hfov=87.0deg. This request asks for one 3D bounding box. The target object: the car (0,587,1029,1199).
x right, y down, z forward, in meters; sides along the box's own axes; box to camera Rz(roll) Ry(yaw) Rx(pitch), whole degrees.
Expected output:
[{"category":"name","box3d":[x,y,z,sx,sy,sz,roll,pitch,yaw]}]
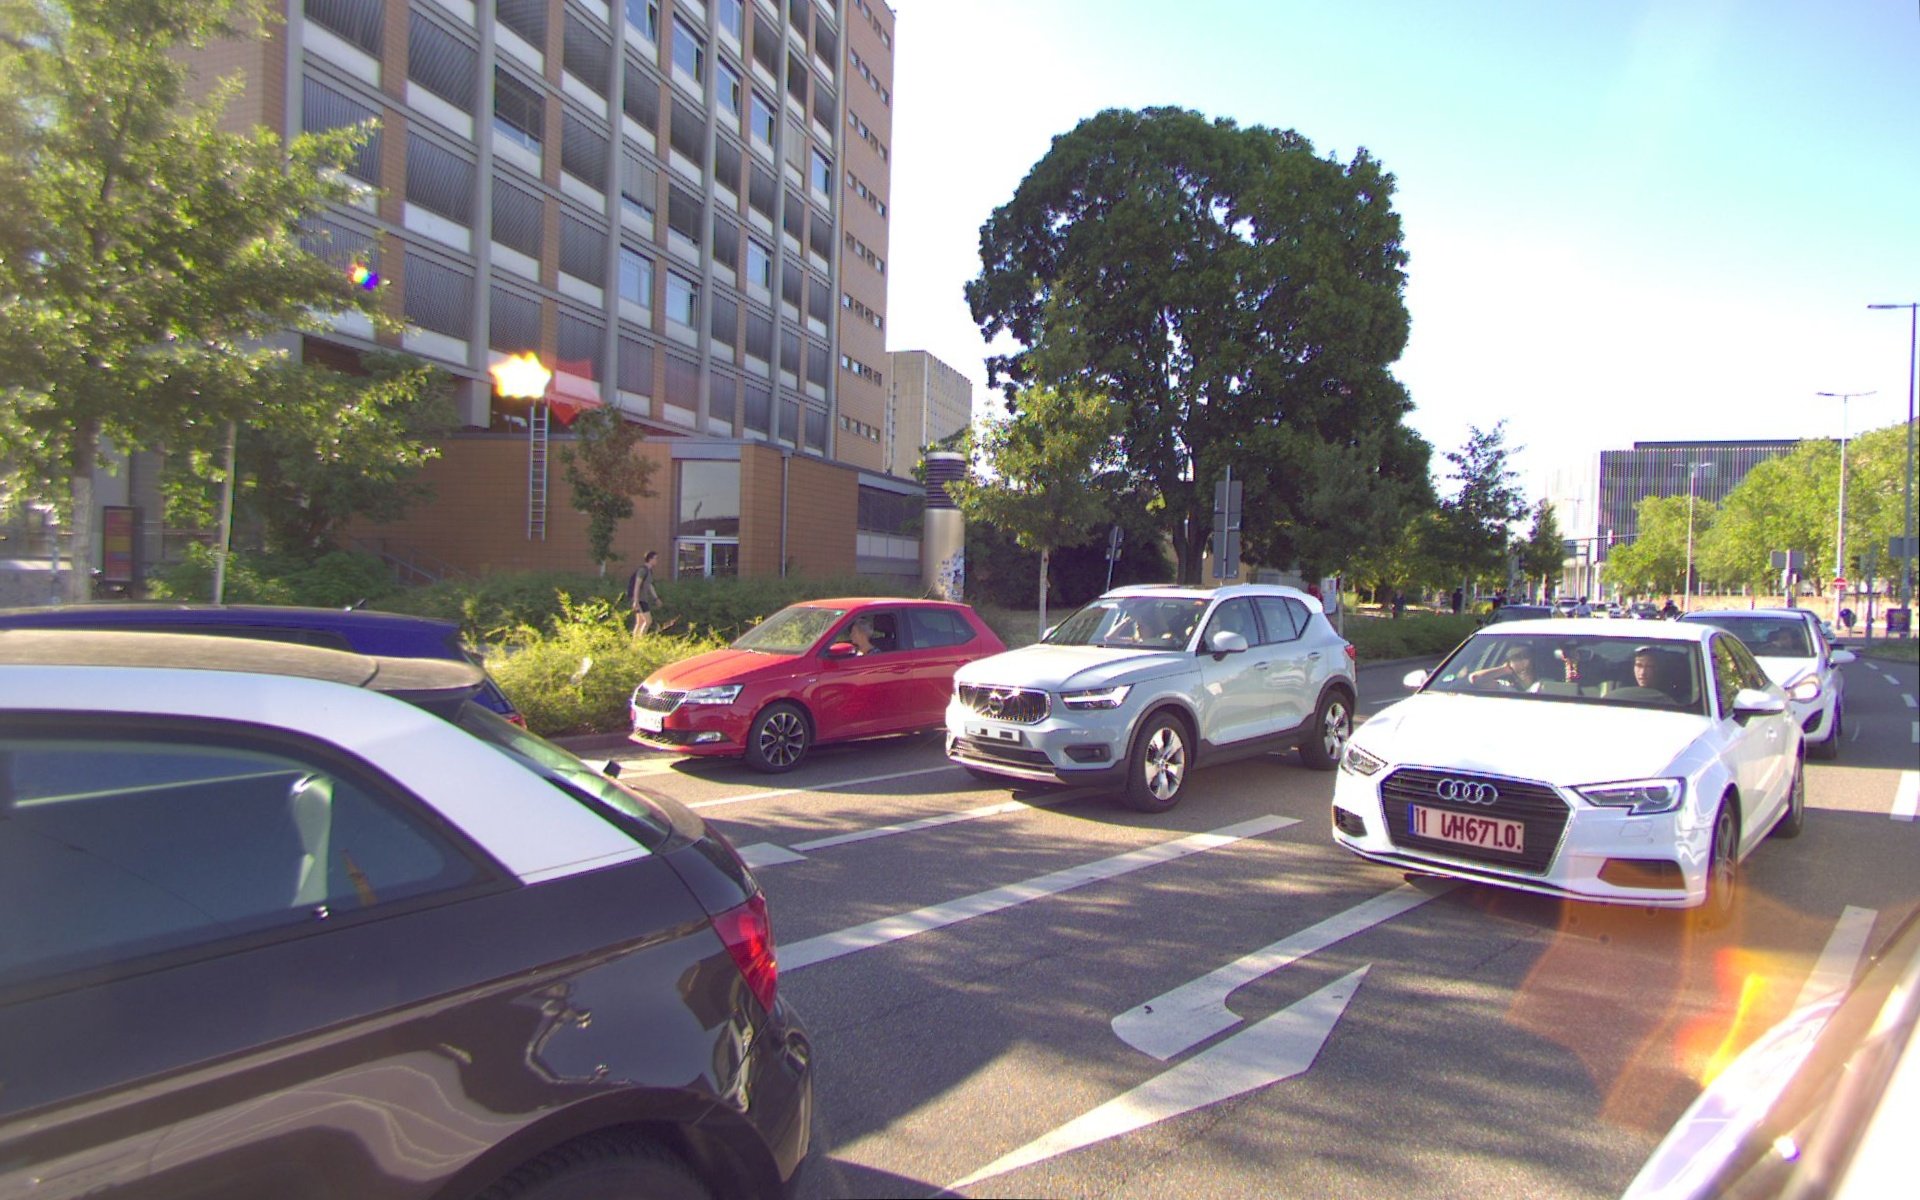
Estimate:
[{"category":"car","box3d":[-1.865,0.701,1.433,3.930,1.422,1.626,-1,0,-41]}]

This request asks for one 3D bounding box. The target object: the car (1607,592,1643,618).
[{"category":"car","box3d":[47.999,0.333,73.092,1.730,1.727,3.962,2,1,27]}]

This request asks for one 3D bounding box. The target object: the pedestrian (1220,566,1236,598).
[{"category":"pedestrian","box3d":[17.296,-1.162,65.415,0.917,2.039,0.750,0,0,22]}]

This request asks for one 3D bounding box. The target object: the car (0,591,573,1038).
[{"category":"car","box3d":[-3.705,0.689,3.765,3.930,1.422,1.626,-1,0,-41]}]

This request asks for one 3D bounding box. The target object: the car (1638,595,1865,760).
[{"category":"car","box3d":[8.871,0.694,11.216,1.623,1.478,3.979,0,0,43]}]

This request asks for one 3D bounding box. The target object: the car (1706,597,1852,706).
[{"category":"car","box3d":[13.110,0.717,16.111,1.622,1.478,3.981,0,0,42]}]

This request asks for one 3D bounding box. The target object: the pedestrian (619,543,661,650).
[{"category":"pedestrian","box3d":[-5.850,-0.064,18.500,0.681,1.910,0.465,0,0,-24]}]

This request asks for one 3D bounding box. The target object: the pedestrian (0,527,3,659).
[{"category":"pedestrian","box3d":[-12.519,-0.099,12.788,0.592,1.660,0.678,0,4,-43]}]

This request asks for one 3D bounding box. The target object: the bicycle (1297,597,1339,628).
[{"category":"bicycle","box3d":[12.335,0.427,34.834,0.657,0.975,2.005,2,2,41]}]

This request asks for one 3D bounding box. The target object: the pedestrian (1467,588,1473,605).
[{"category":"pedestrian","box3d":[52.591,-0.394,104.392,0.475,1.706,0.399,1,1,-41]}]

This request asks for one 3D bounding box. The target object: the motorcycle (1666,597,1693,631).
[{"category":"motorcycle","box3d":[28.764,0.550,40.438,0.714,1.321,2.203,0,0,39]}]

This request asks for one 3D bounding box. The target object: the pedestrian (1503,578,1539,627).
[{"category":"pedestrian","box3d":[23.812,0.112,42.947,1.137,2.039,1.268,0,0,39]}]

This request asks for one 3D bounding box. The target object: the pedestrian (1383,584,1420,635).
[{"category":"pedestrian","box3d":[15.407,0.334,35.294,1.005,1.742,0.873,0,0,39]}]

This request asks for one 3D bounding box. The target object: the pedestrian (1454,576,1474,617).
[{"category":"pedestrian","box3d":[19.994,-0.130,40.147,0.593,1.615,0.586,0,0,41]}]

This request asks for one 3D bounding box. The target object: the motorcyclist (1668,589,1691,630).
[{"category":"motorcyclist","box3d":[28.663,0.359,40.325,0.708,1.610,0.680,0,0,40]}]

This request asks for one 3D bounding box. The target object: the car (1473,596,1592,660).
[{"category":"car","box3d":[14.739,0.658,25.962,1.750,1.478,4.123,0,1,43]}]

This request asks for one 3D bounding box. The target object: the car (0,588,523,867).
[{"category":"car","box3d":[-5.207,0.651,6.108,4.433,1.422,1.726,-1,0,-41]}]

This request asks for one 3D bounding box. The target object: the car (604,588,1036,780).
[{"category":"car","box3d":[-1.194,0.635,9.837,3.974,1.478,1.625,-1,0,-43]}]

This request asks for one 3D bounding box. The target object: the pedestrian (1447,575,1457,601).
[{"category":"pedestrian","box3d":[31.517,-0.764,64.833,0.543,1.627,0.598,0,0,30]}]

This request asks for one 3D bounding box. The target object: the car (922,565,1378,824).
[{"category":"car","box3d":[1.771,0.574,8.451,4.153,1.641,1.625,-1,0,-43]}]

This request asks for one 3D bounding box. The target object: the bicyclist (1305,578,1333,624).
[{"category":"bicyclist","box3d":[12.381,0.025,34.886,0.615,1.580,0.858,0,0,41]}]

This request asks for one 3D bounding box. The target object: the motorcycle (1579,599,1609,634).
[{"category":"motorcycle","box3d":[24.454,0.618,39.023,0.714,1.321,2.203,0,0,39]}]

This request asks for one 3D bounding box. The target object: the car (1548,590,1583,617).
[{"category":"car","box3d":[41.541,0.215,69.444,1.730,1.727,3.962,2,1,27]}]

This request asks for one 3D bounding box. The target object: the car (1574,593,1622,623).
[{"category":"car","box3d":[34.666,0.411,54.929,1.738,1.544,3.943,2,1,39]}]

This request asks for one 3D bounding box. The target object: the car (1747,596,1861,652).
[{"category":"car","box3d":[24.630,0.653,29.680,1.740,1.478,4.148,0,0,28]}]

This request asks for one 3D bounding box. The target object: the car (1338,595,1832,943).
[{"category":"car","box3d":[3.943,0.695,6.111,3.769,1.422,1.625,-1,0,-43]}]

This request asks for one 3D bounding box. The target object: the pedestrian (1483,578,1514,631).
[{"category":"pedestrian","box3d":[20.860,0.163,39.191,0.891,2.039,0.870,0,0,39]}]

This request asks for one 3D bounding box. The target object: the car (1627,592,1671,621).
[{"category":"car","box3d":[40.498,0.358,59.549,1.731,1.564,3.960,2,1,29]}]

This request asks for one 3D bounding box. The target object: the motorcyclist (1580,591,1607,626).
[{"category":"motorcyclist","box3d":[24.405,0.331,38.979,0.716,1.321,0.723,0,0,45]}]

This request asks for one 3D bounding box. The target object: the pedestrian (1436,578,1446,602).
[{"category":"pedestrian","box3d":[30.914,-0.633,65.067,0.543,1.549,0.598,0,0,30]}]
